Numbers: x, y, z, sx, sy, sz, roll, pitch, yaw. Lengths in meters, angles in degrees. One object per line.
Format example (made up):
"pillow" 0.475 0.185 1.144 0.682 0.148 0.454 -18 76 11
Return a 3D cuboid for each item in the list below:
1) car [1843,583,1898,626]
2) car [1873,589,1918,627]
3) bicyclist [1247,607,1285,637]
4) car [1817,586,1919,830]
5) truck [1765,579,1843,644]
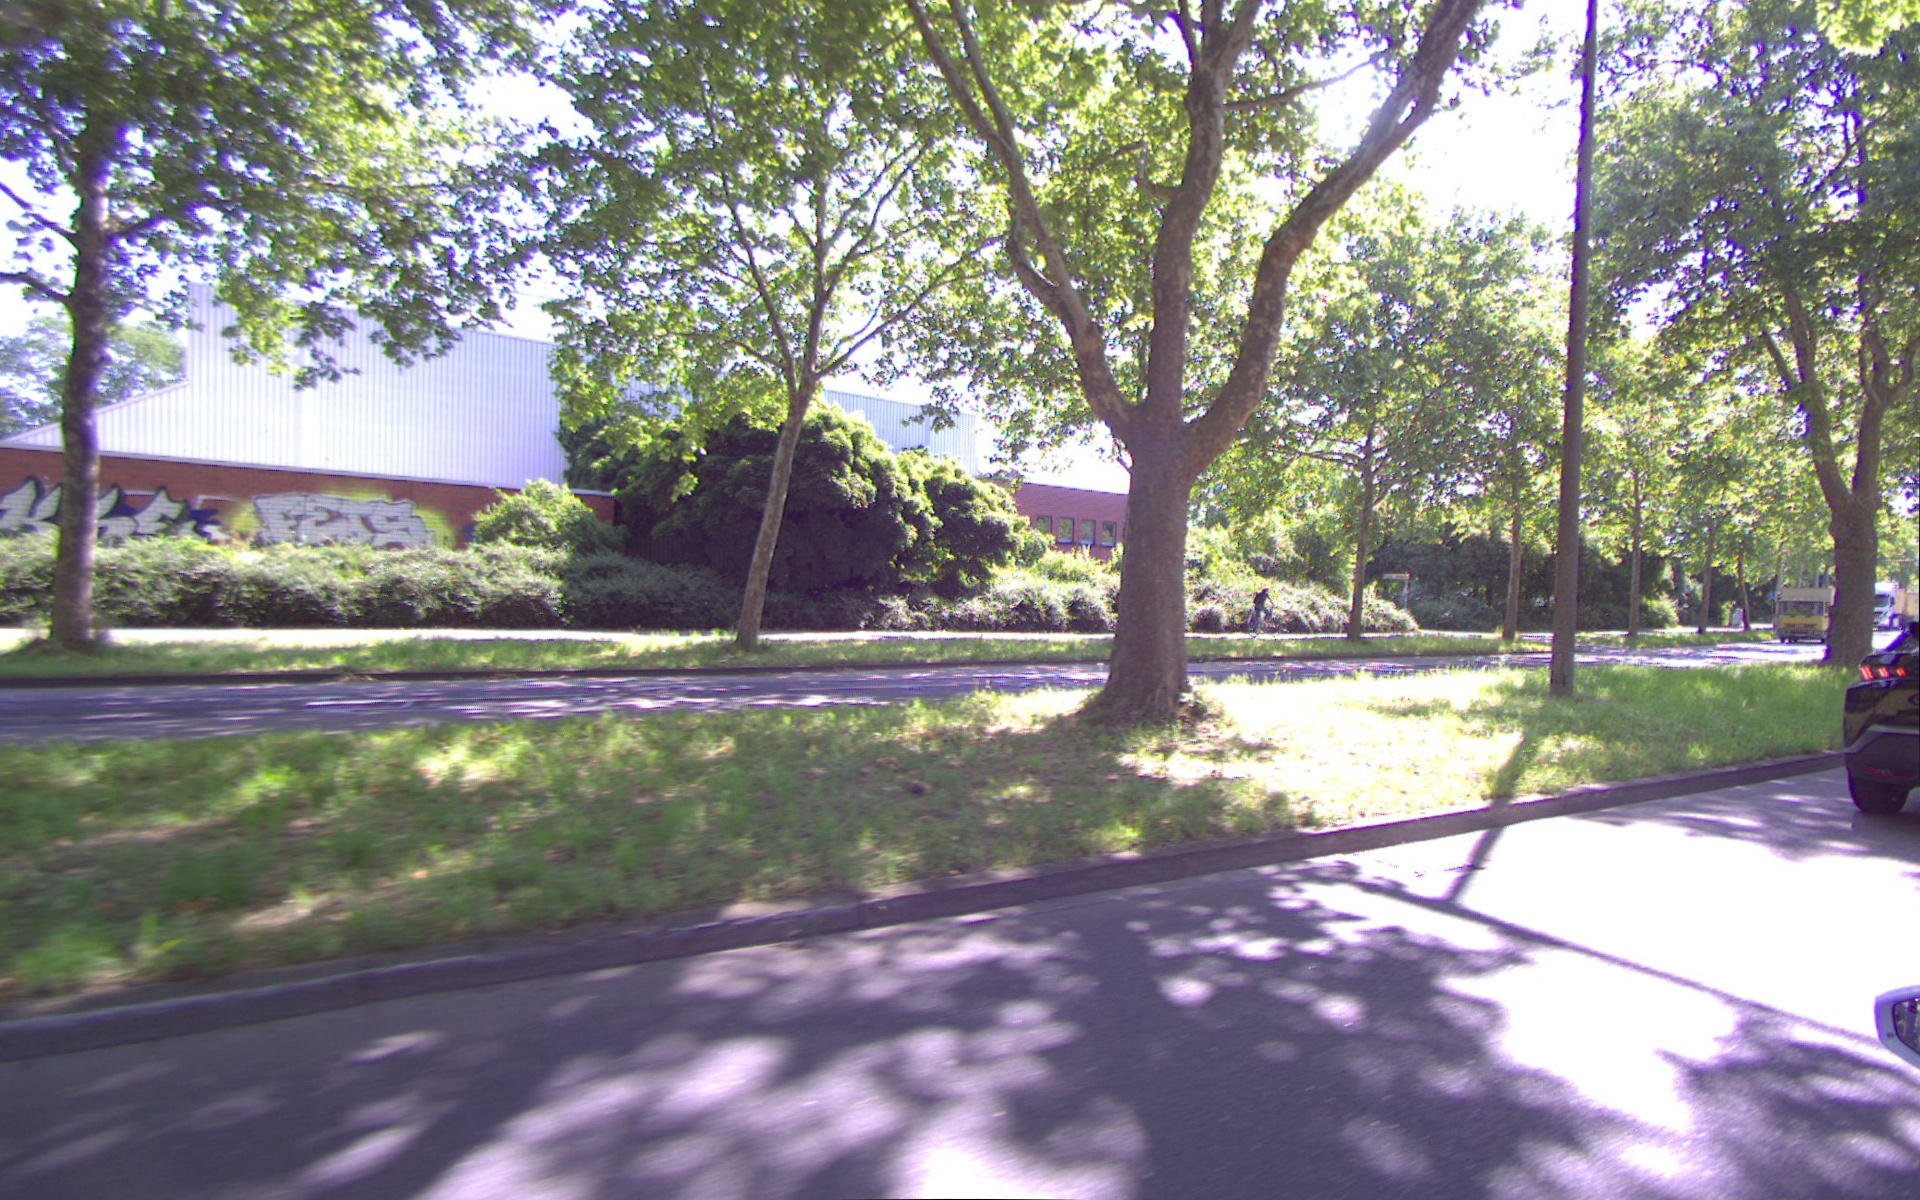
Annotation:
"car" 78.767 0.364 86.890 7.040 3.496 2.429 0 4 -40
"car" 87.680 0.768 94.100 6.711 3.480 2.041 1 1 -39
"bicyclist" 10.819 0.793 35.503 1.408 1.027 0.426 1 1 -30
"car" 8.815 0.804 7.971 4.387 1.719 1.862 1 -1 -32
"truck" 49.667 0.627 59.046 7.045 3.496 2.428 0 4 -42
